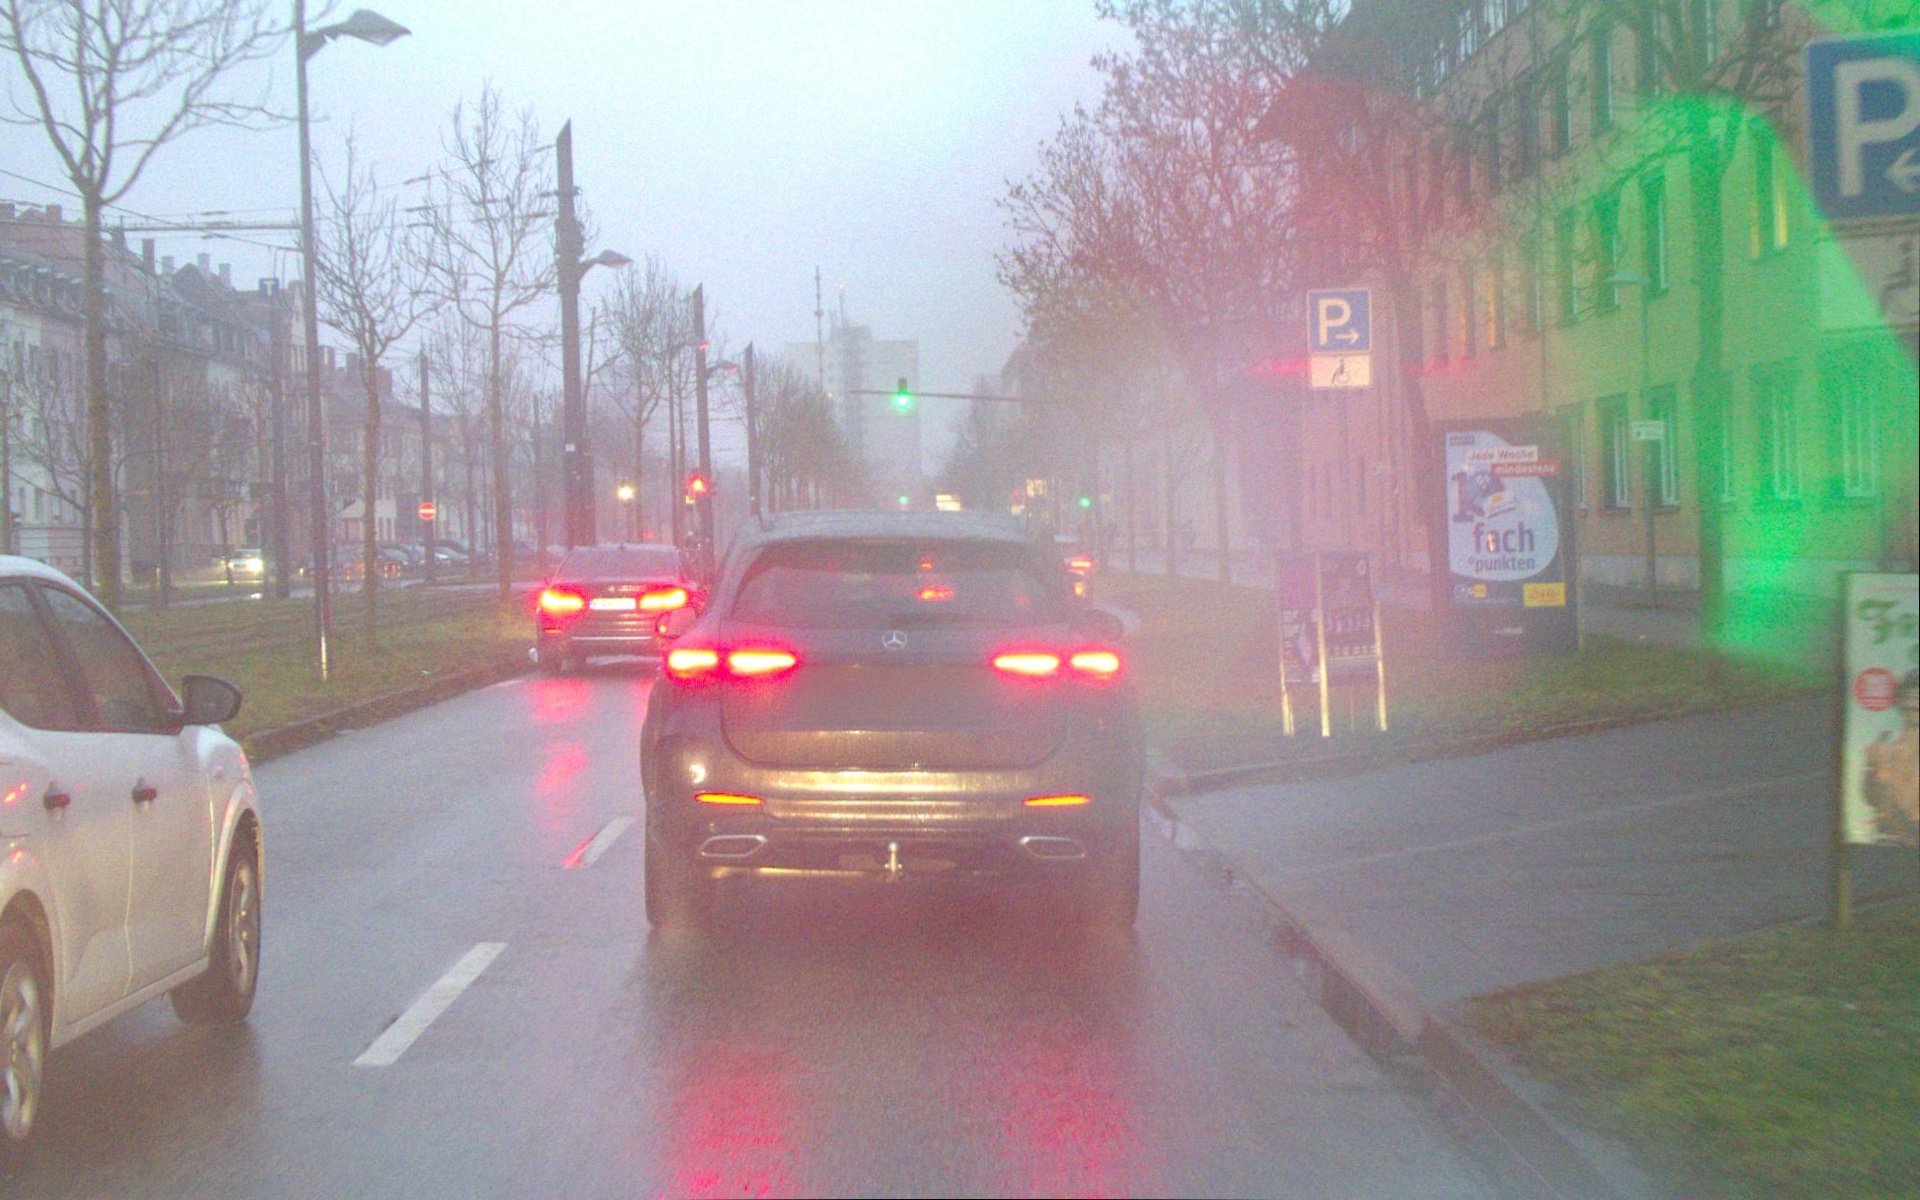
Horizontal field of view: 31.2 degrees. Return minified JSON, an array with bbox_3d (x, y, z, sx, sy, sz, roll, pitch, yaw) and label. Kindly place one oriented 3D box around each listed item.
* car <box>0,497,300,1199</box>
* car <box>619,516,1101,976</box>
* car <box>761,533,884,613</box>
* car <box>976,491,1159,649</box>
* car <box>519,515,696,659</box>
[{"bbox_3d":[-2.971,0.547,9.139,1.672,1.594,4.054,0,1,0],"label":"car"},{"bbox_3d":[-0.364,0.472,14.021,1.672,1.594,4.054,0,1,0],"label":"car"},{"bbox_3d":[-2.391,-0.490,60.543,1.993,1.294,3.479,-2,1,0],"label":"car"},{"bbox_3d":[1.228,-0.377,40.962,1.993,1.738,4.000,-1,1,0],"label":"car"},{"bbox_3d":[-4.070,-0.180,40.219,1.672,1.594,4.054,0,1,0],"label":"car"}]
